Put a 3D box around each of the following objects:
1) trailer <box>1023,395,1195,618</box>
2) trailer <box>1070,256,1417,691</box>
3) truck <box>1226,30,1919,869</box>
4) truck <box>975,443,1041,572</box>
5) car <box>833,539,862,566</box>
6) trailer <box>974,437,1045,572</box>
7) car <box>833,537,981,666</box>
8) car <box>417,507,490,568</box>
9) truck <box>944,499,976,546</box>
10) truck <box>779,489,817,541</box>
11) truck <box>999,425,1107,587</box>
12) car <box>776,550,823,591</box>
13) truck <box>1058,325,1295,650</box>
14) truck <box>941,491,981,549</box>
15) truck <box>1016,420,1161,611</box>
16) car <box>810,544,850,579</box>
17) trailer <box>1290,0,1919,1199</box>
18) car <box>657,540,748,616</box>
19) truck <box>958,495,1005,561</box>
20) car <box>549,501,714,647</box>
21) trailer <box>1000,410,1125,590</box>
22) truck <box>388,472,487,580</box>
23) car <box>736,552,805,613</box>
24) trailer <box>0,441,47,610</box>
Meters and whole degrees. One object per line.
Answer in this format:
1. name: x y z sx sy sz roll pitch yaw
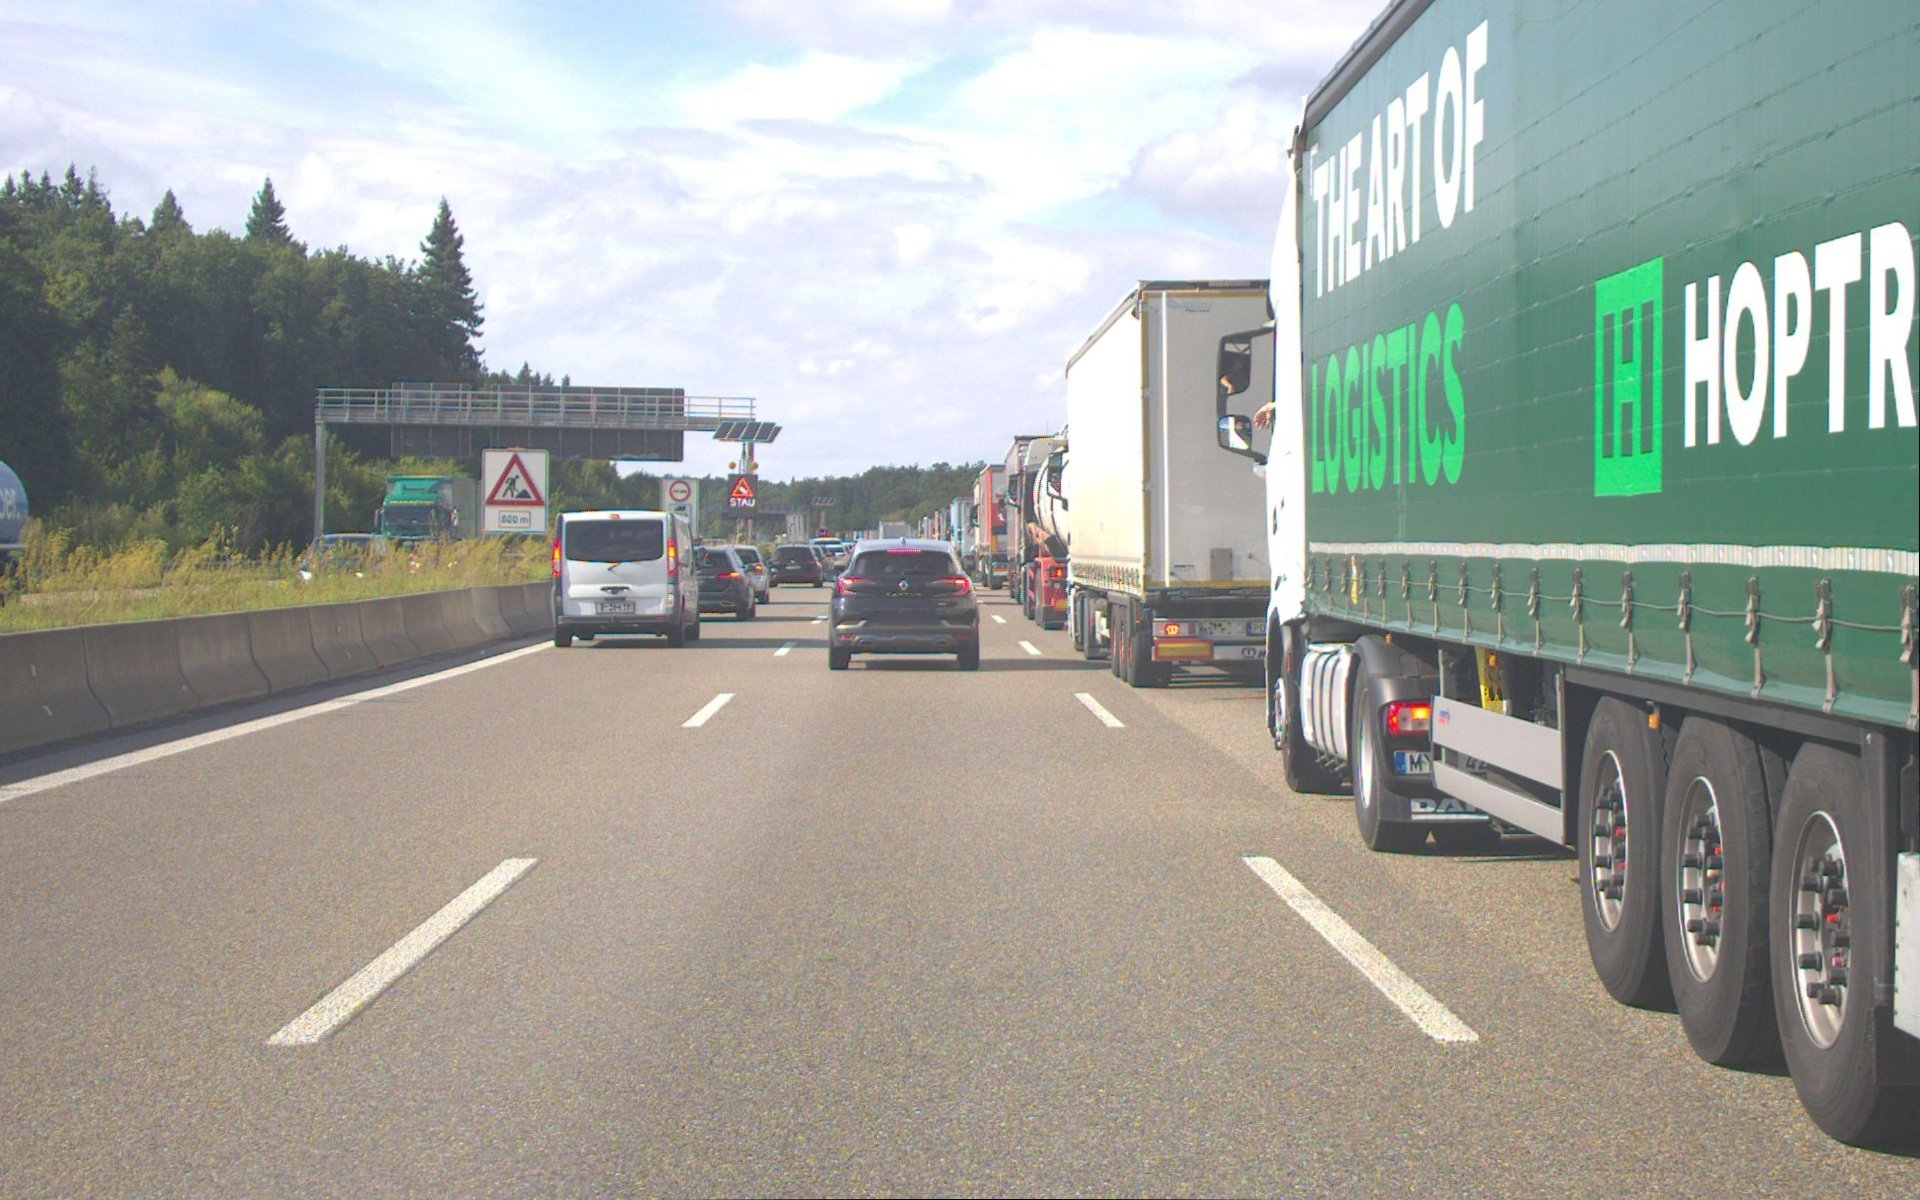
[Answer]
1. trailer: 2.532 -1.591 61.624 2.541 3.641 10.627 0 1 0
2. trailer: 2.867 -1.307 38.712 2.703 4.068 12.945 0 1 -1
3. truck: 3.146 -0.736 19.395 2.647 3.855 6.996 0 1 -1
4. truck: 1.600 -3.095 116.878 2.134 4.267 6.339 1 1 0
5. car: -5.712 -2.423 174.731 1.361 1.296 3.085 3 1 -1
6. trailer: 1.579 -3.058 112.422 2.150 4.244 8.440 0 1 0
7. car: -0.643 0.002 42.005 1.696 1.478 4.160 1 1 -1
8. car: -16.662 -2.039 113.311 1.760 1.875 4.000 3 1 -1
9. truck: -0.008 -5.252 233.218 1.993 3.042 4.981 3 1 0
10. truck: -11.977 -6.269 254.231 2.344 3.582 6.306 3 1 -1
11. truck: 2.474 -2.502 93.202 2.786 4.232 6.459 0 1 0
12. car: -5.518 -1.019 118.476 1.434 1.305 3.533 3 1 -1
13. truck: 2.792 -1.444 46.119 2.708 4.046 6.362 0 1 -1
14. truck: 0.063 -4.401 189.422 1.993 3.042 4.981 3 1 0
15. truck: 2.464 -1.624 67.742 2.533 3.571 6.730 0 1 -1
16. car: -5.089 -1.512 134.985 1.434 1.305 3.533 3 1 -1
17. trailer: 3.218 -0.778 12.132 2.661 3.855 13.395 0 1 -1
18. car: -4.999 -0.440 67.144 1.500 1.391 3.476 3 1 -1
19. truck: 1.004 -3.380 162.428 1.993 2.922 4.981 3 1 0
20. car: -4.866 -0.407 51.531 1.933 1.972 5.099 3 1 -1
21. trailer: 2.477 -2.419 86.416 2.802 4.229 11.057 0 1 0
22. truck: -21.220 -2.968 140.012 2.711 4.229 10.345 0 1 -1
23. car: -4.680 -0.456 85.319 1.500 1.391 3.476 3 1 -1
24. trailer: -19.776 -1.406 64.597 2.321 3.273 10.876 0 1 0
